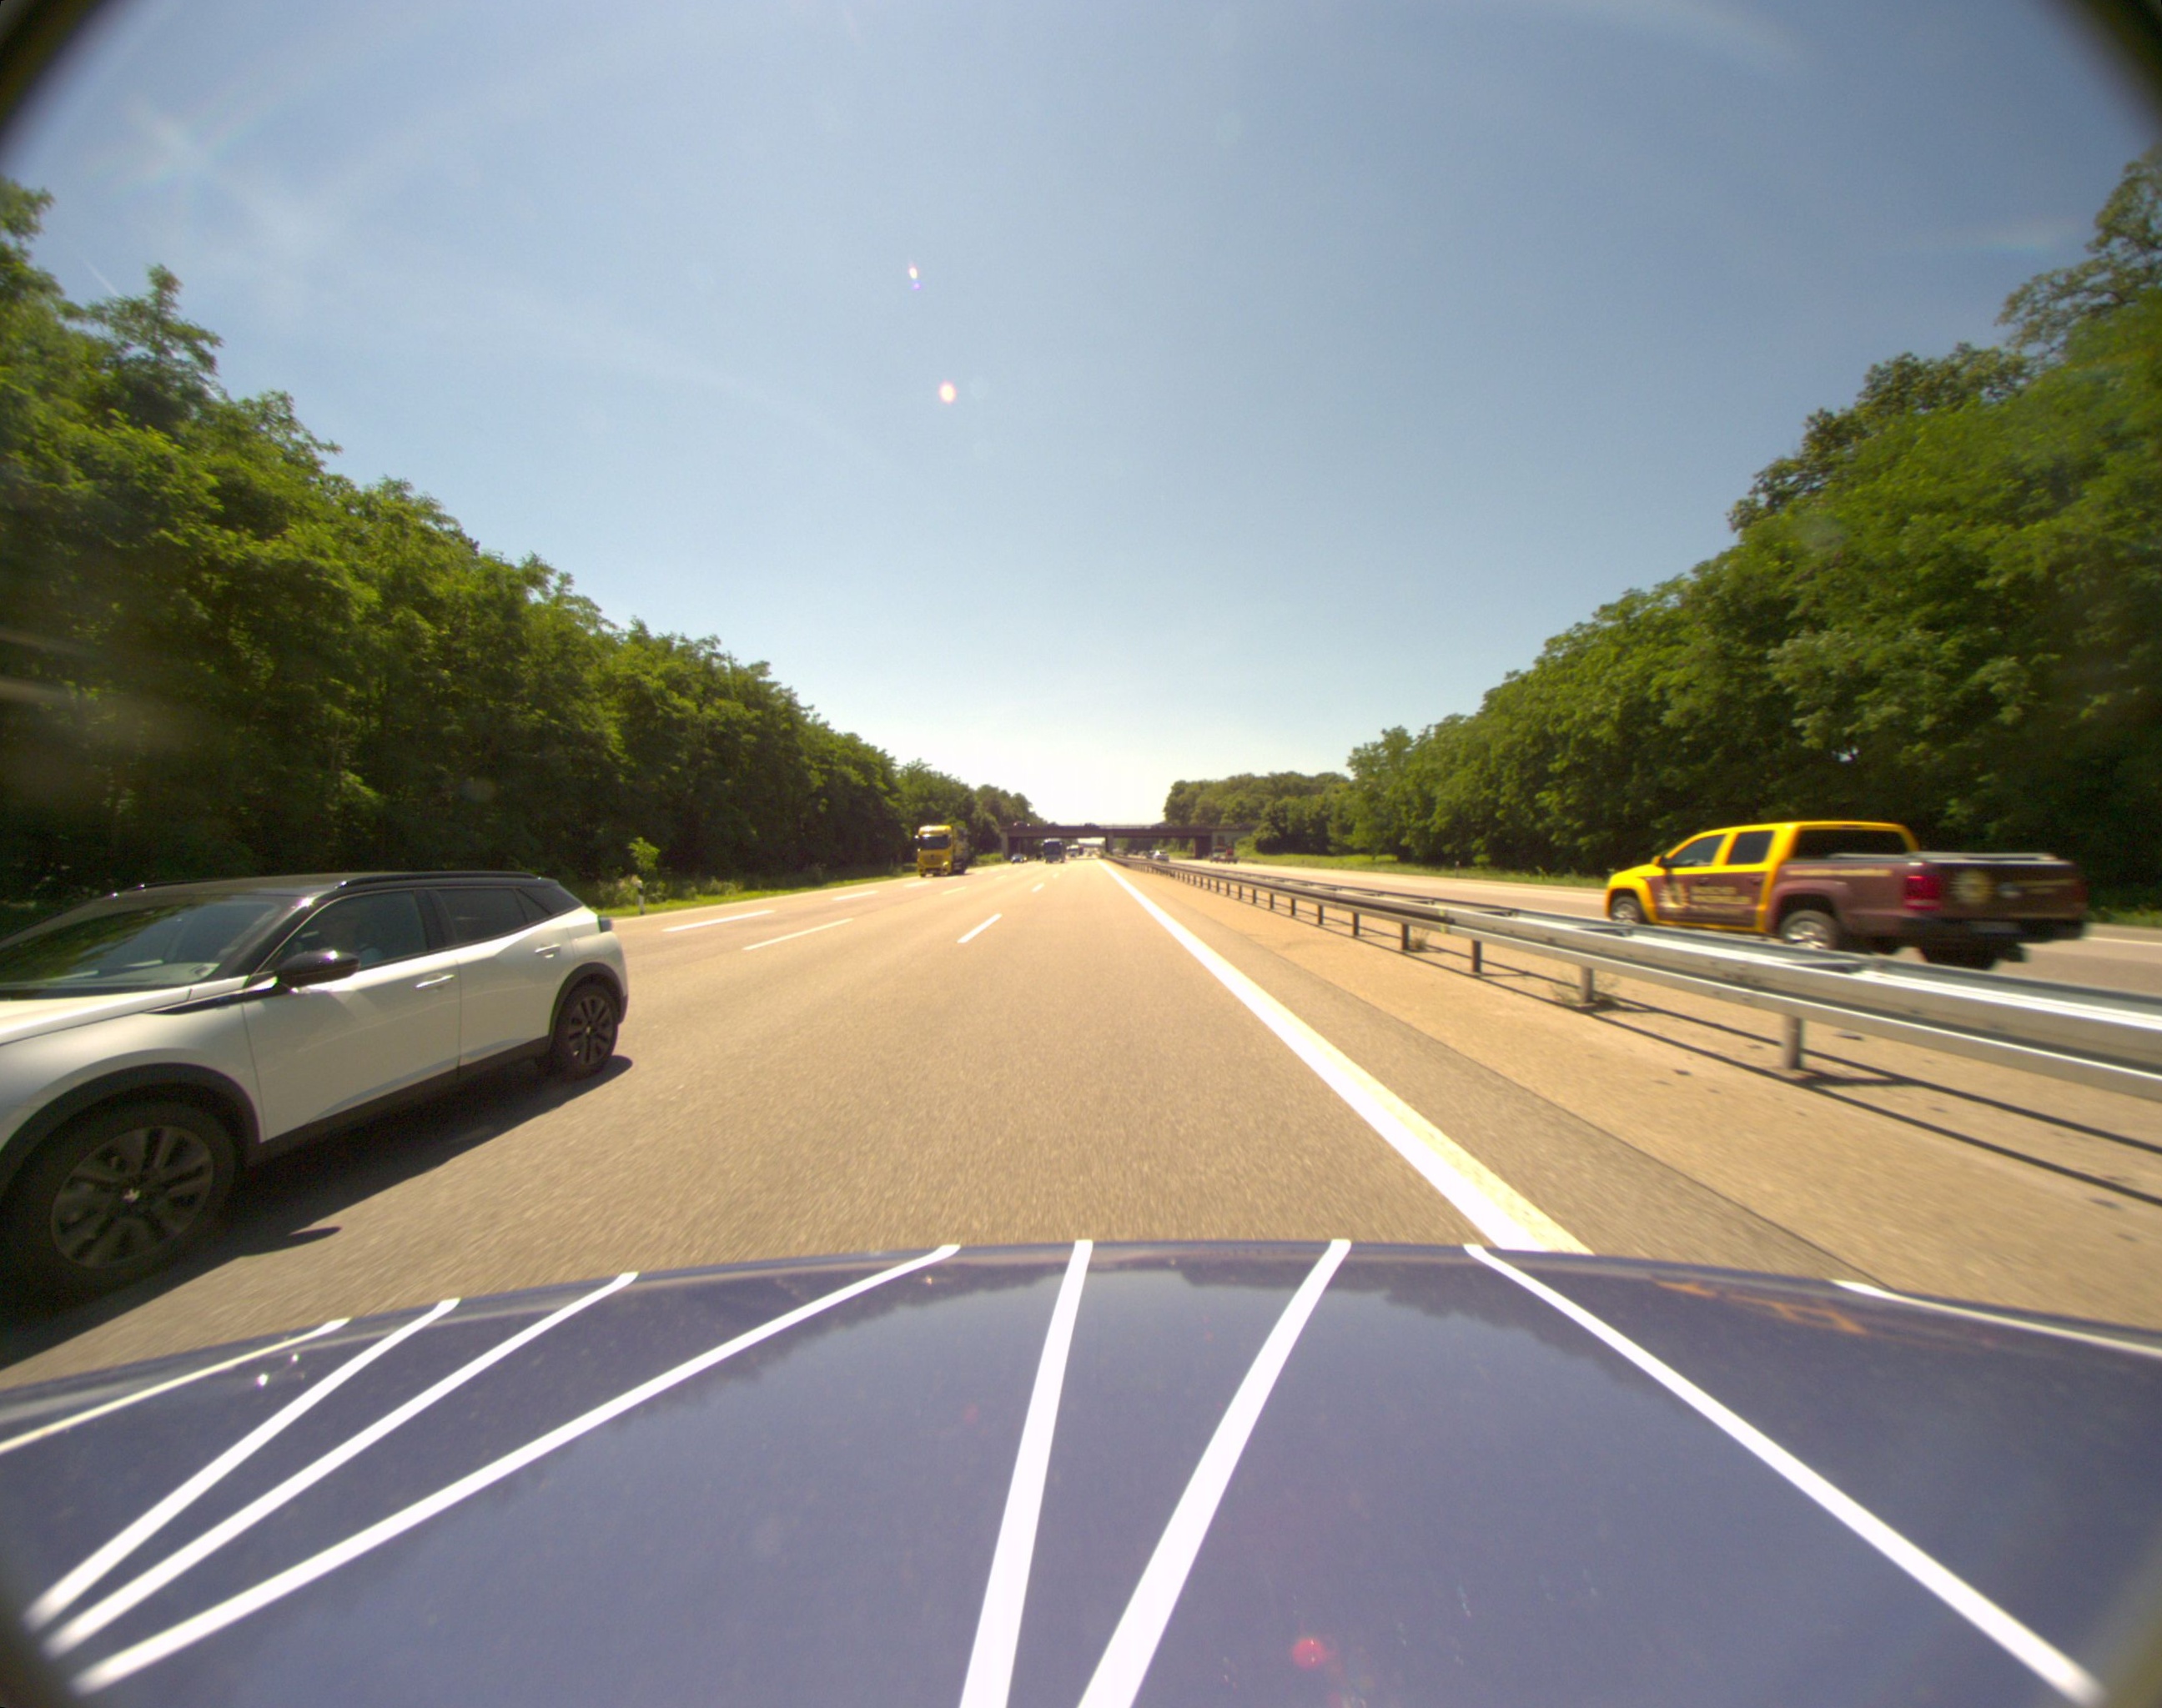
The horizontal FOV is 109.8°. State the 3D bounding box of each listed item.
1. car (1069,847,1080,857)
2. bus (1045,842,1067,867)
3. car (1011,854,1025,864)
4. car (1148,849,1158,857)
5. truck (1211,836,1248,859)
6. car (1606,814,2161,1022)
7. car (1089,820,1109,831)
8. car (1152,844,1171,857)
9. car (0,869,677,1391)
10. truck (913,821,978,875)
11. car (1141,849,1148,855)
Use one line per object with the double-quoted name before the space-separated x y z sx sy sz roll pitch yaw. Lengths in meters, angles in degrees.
"car" -1.791 -0.598 207.430 2.616 2.389 7.122 -2 1 0
"bus" -3.732 0.061 117.301 2.617 3.532 13.681 -2 1 1
"car" -10.236 0.776 123.209 1.875 1.547 4.201 -2 1 1
"car" 15.081 -0.301 159.888 1.692 1.535 4.204 -2 1 1
"truck" 20.562 -0.893 106.016 2.760 2.973 12.854 0 1 1
"car" 9.691 0.597 9.983 1.998 1.953 5.210 -2 1 1
"car" 3.820 -5.986 160.549 3.998 2.002 1.999 -2 1 -2
"car" 11.054 -0.485 104.843 1.998 1.696 5.265 -2 0 1
"car" -4.498 0.983 4.231 1.831 1.599 4.808 -2 1 0
"truck" -11.157 -0.509 63.747 2.982 4.013 10.981 -3 1 2
"car" 19.813 -0.566 236.368 1.744 1.795 4.934 0 1 1
